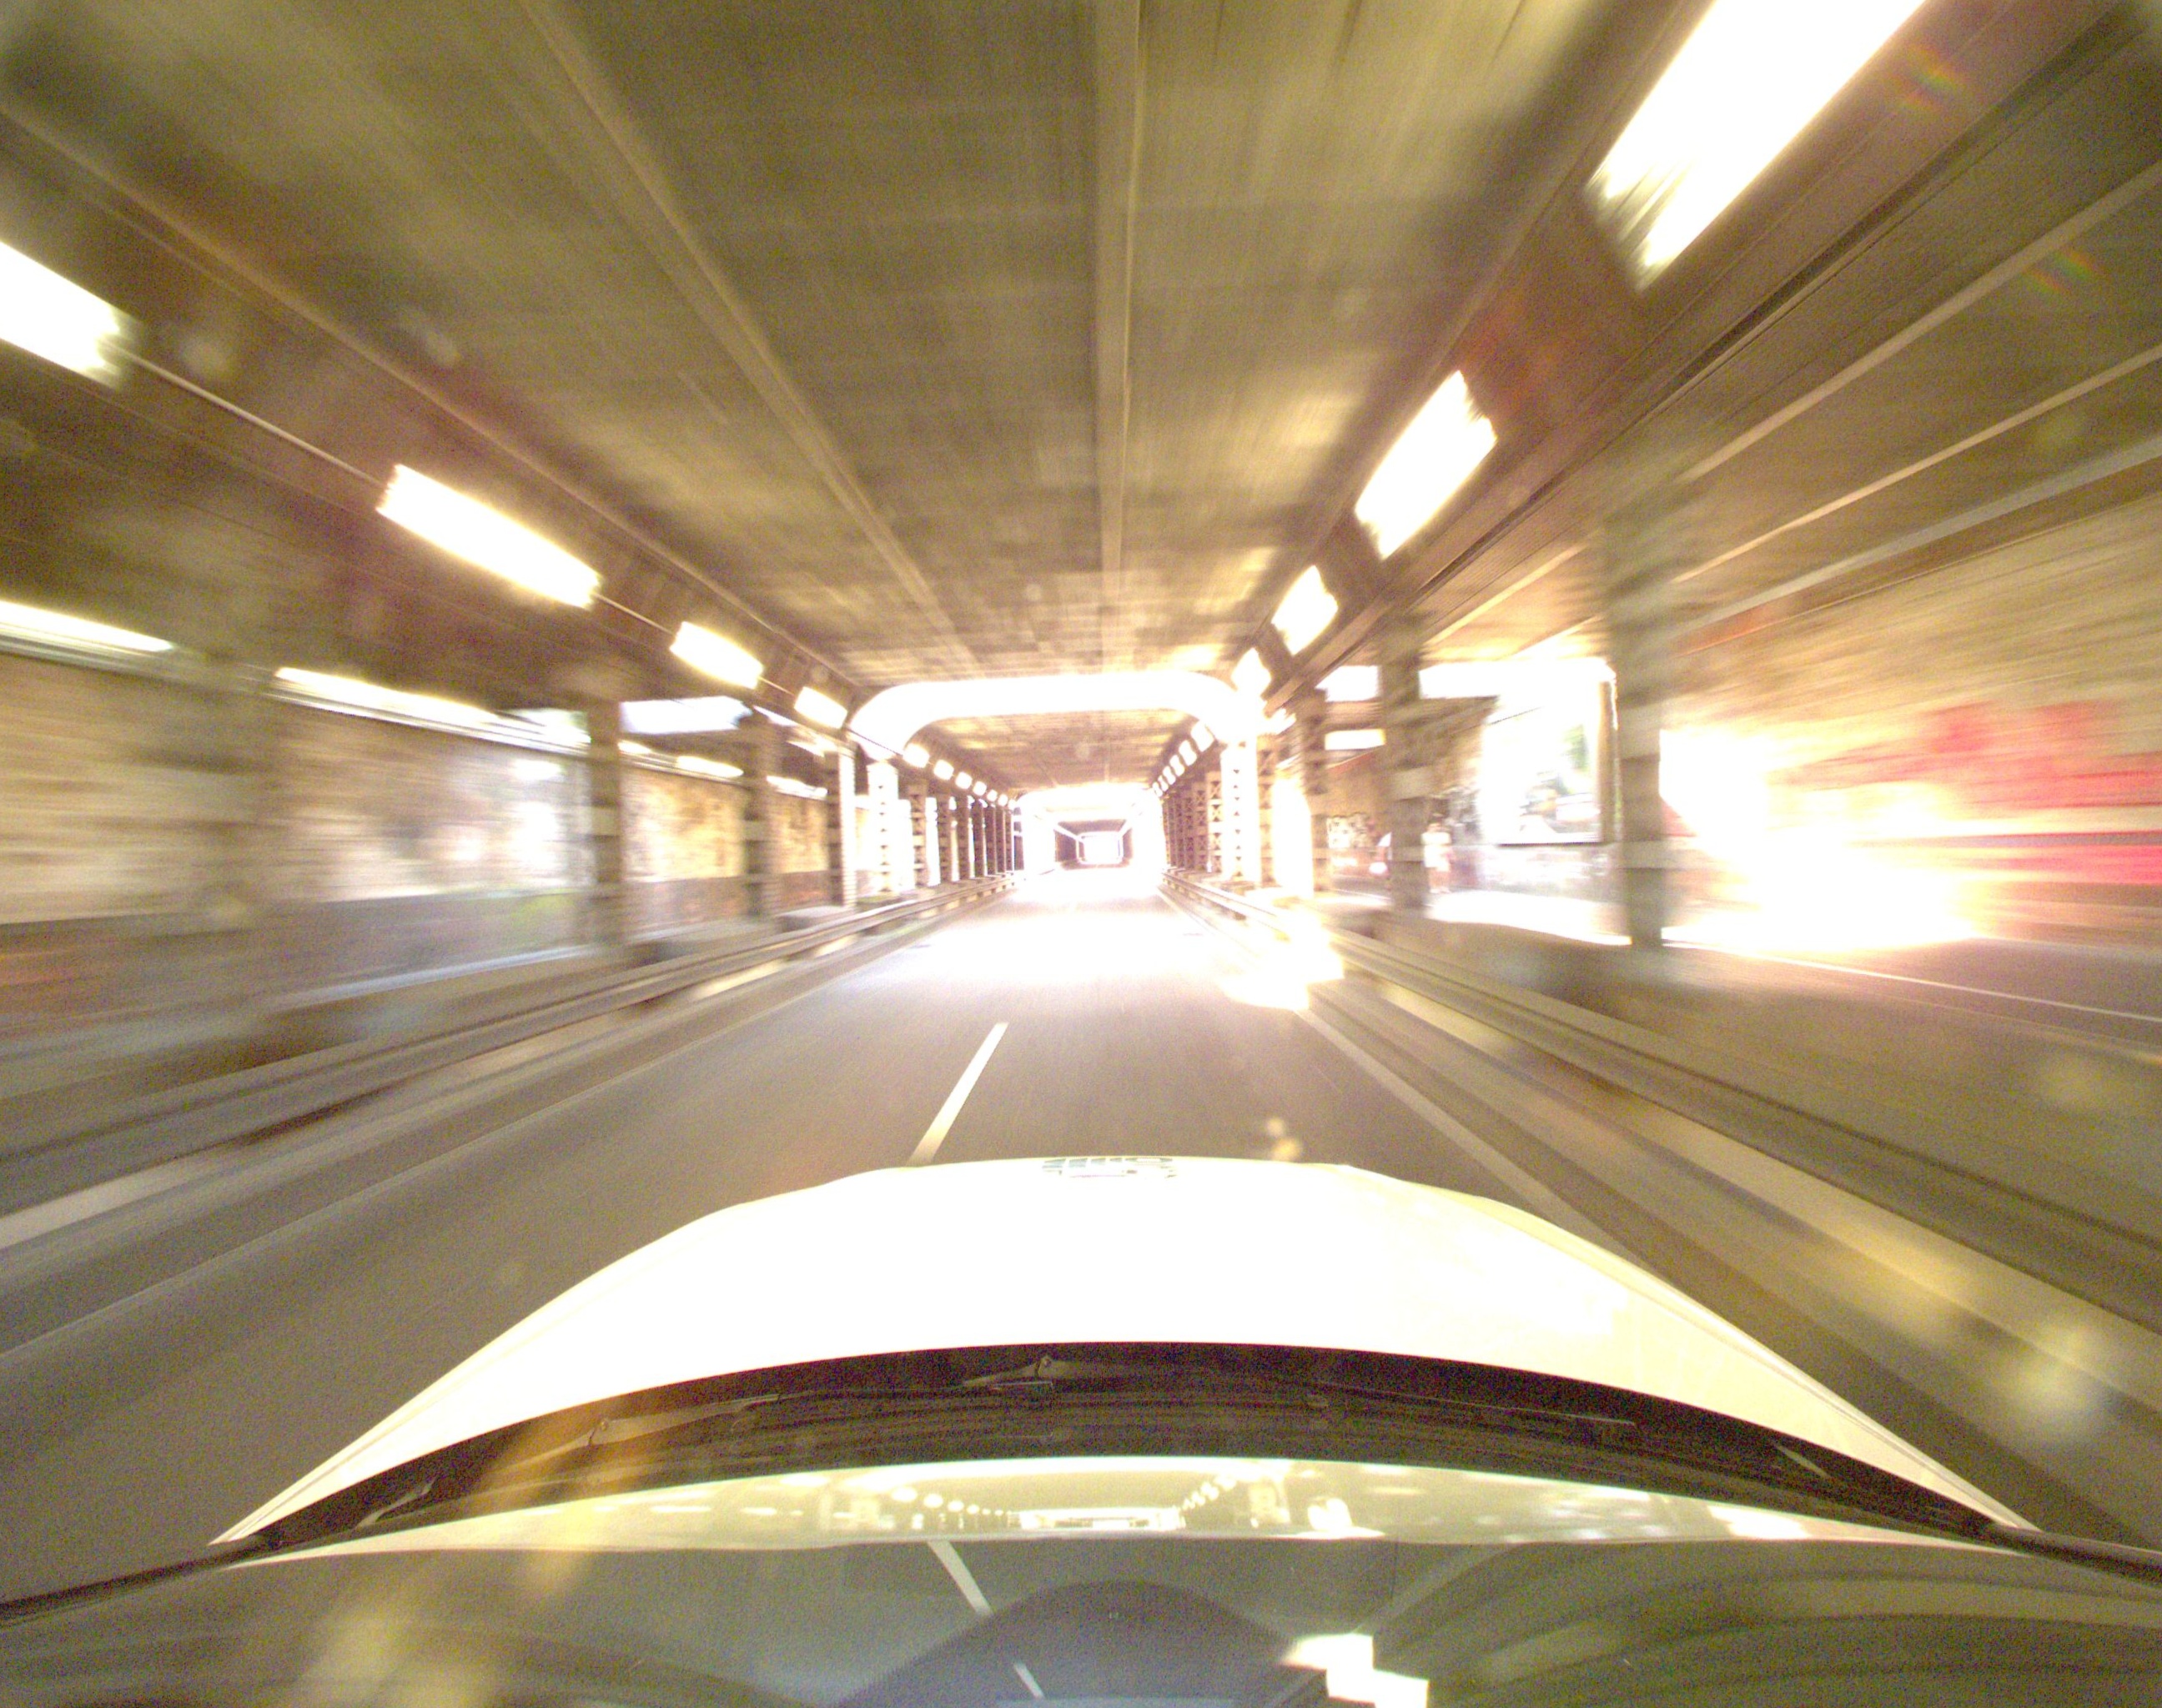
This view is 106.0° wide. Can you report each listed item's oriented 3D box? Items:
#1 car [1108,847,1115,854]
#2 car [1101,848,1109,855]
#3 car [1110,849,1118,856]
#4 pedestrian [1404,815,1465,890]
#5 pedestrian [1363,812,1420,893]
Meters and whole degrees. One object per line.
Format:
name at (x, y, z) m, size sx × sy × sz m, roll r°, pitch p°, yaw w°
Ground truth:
car at (8.231, -0.860, 219.840) m, size 1.986 × 1.784 × 4.002 m, roll -3°, pitch 0°, yaw 2°
car at (6.614, -0.771, 226.276) m, size 1.986 × 1.784 × 4.002 m, roll -3°, pitch 0°, yaw 2°
car at (8.451, -0.446, 210.706) m, size 1.986 × 1.784 × 4.002 m, roll -3°, pitch 0°, yaw 2°
pedestrian at (8.304, -0.028, 19.142) m, size 0.914 × 1.656 × 0.886 m, roll -5°, pitch 0°, yaw -2°
pedestrian at (7.482, -0.041, 19.669) m, size 0.878 × 1.835 × 0.922 m, roll -5°, pitch 0°, yaw -2°
